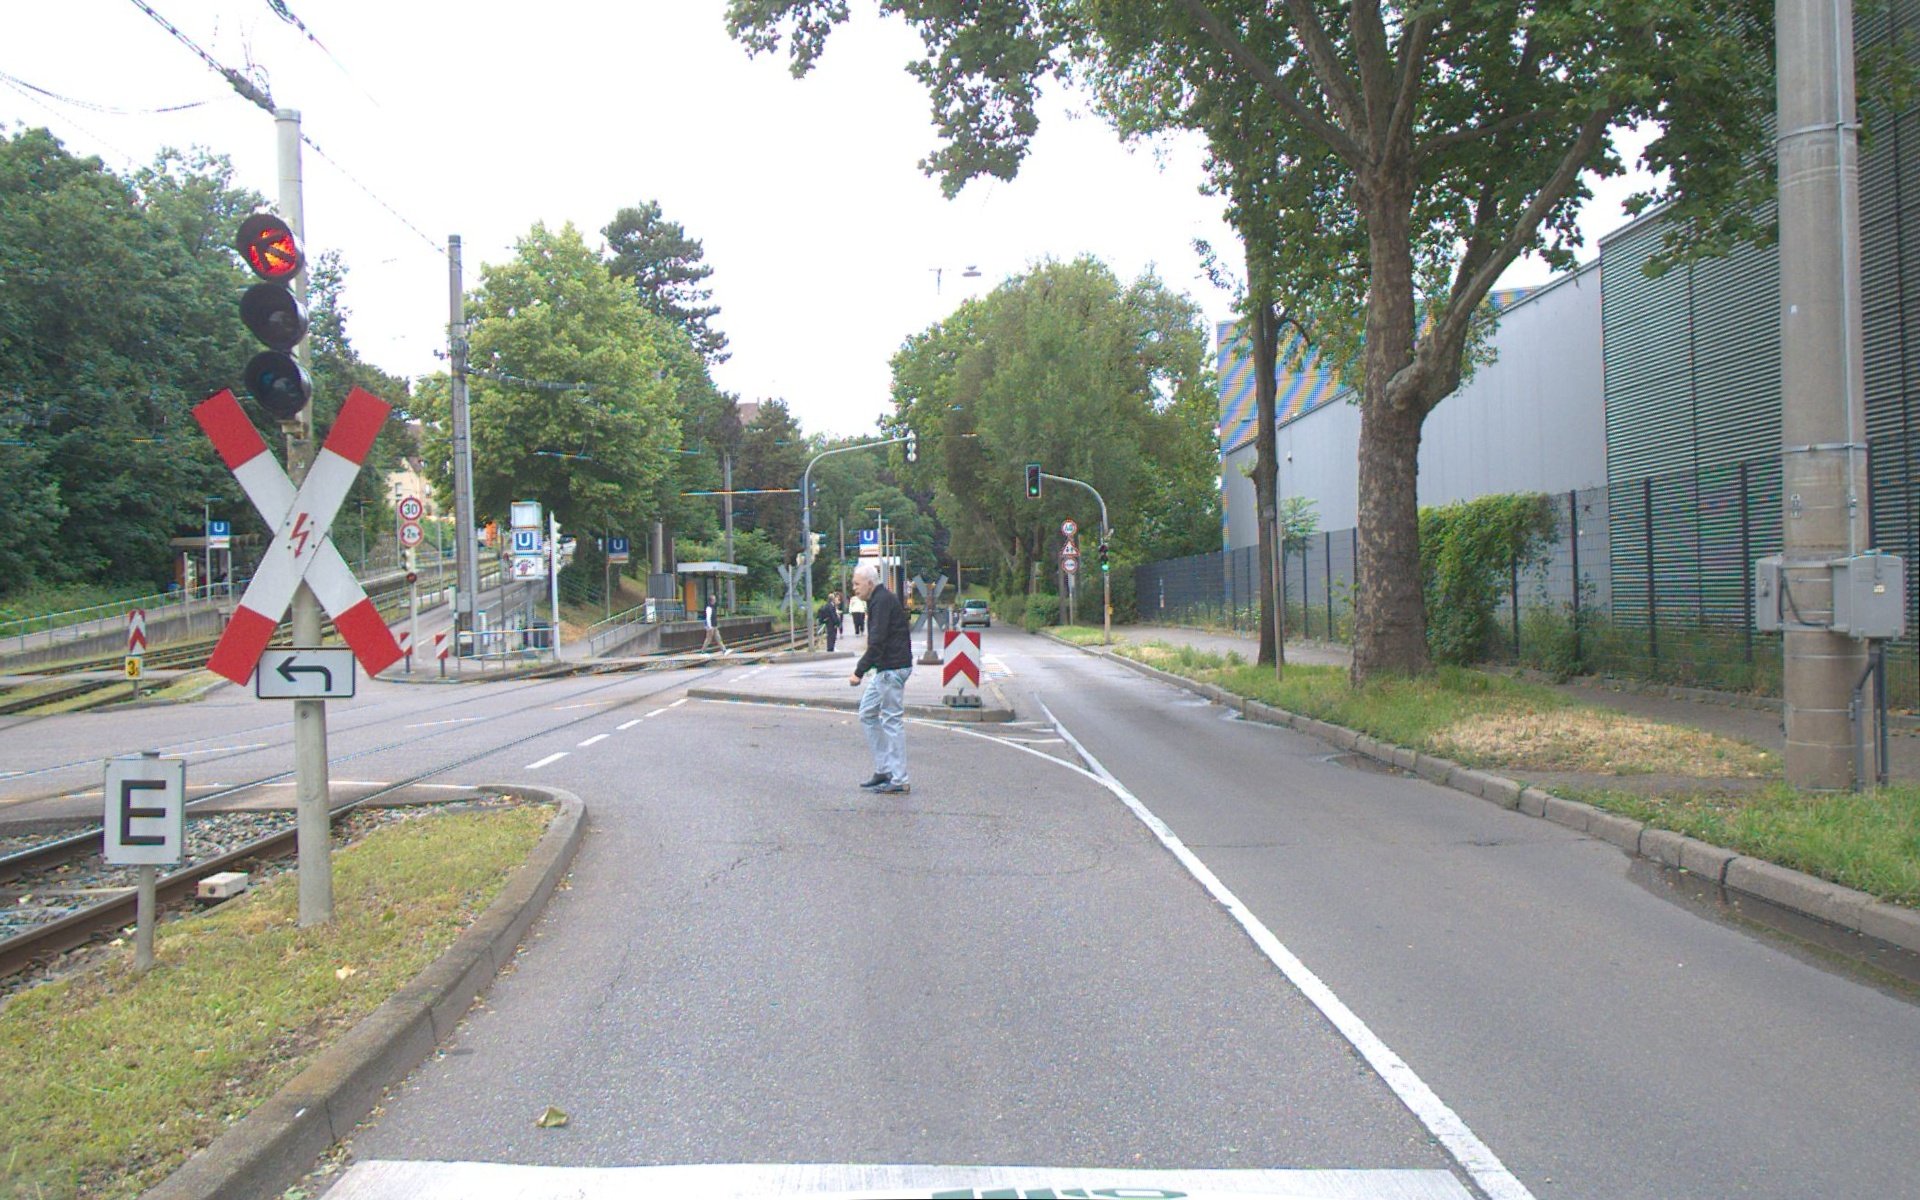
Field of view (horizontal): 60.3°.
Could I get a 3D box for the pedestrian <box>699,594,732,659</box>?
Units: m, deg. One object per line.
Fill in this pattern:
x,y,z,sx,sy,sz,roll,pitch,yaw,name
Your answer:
-7.013,0.761,47.424,0.792,1.853,0.665,1,-1,-24,pedestrian

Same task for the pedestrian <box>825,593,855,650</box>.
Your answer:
-3.617,0.641,49.745,0.665,1.694,0.738,1,-1,14,pedestrian

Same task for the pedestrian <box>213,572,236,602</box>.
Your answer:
-33.569,-0.602,75.495,0.757,1.349,0.785,1,0,-9,pedestrian

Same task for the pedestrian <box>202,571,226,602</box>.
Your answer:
-33.464,-0.606,74.189,0.757,1.349,0.786,1,2,-9,pedestrian

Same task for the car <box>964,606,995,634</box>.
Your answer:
1.169,1.208,99.806,1.708,1.627,3.999,1,0,-1,car

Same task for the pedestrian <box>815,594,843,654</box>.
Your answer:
-3.714,0.674,46.981,0.720,1.694,0.682,1,-1,1,pedestrian

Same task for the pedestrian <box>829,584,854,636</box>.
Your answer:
-3.925,0.337,54.880,0.722,1.694,0.680,1,-1,-11,pedestrian

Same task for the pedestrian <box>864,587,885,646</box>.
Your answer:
-2.626,0.508,50.743,0.538,1.789,0.738,1,-1,4,pedestrian

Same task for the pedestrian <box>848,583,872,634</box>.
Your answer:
-3.372,0.296,55.707,0.722,1.694,0.680,1,-1,-11,pedestrian

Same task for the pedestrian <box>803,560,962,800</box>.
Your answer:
-0.587,0.601,12.905,1.093,1.791,0.814,1,0,7,pedestrian
